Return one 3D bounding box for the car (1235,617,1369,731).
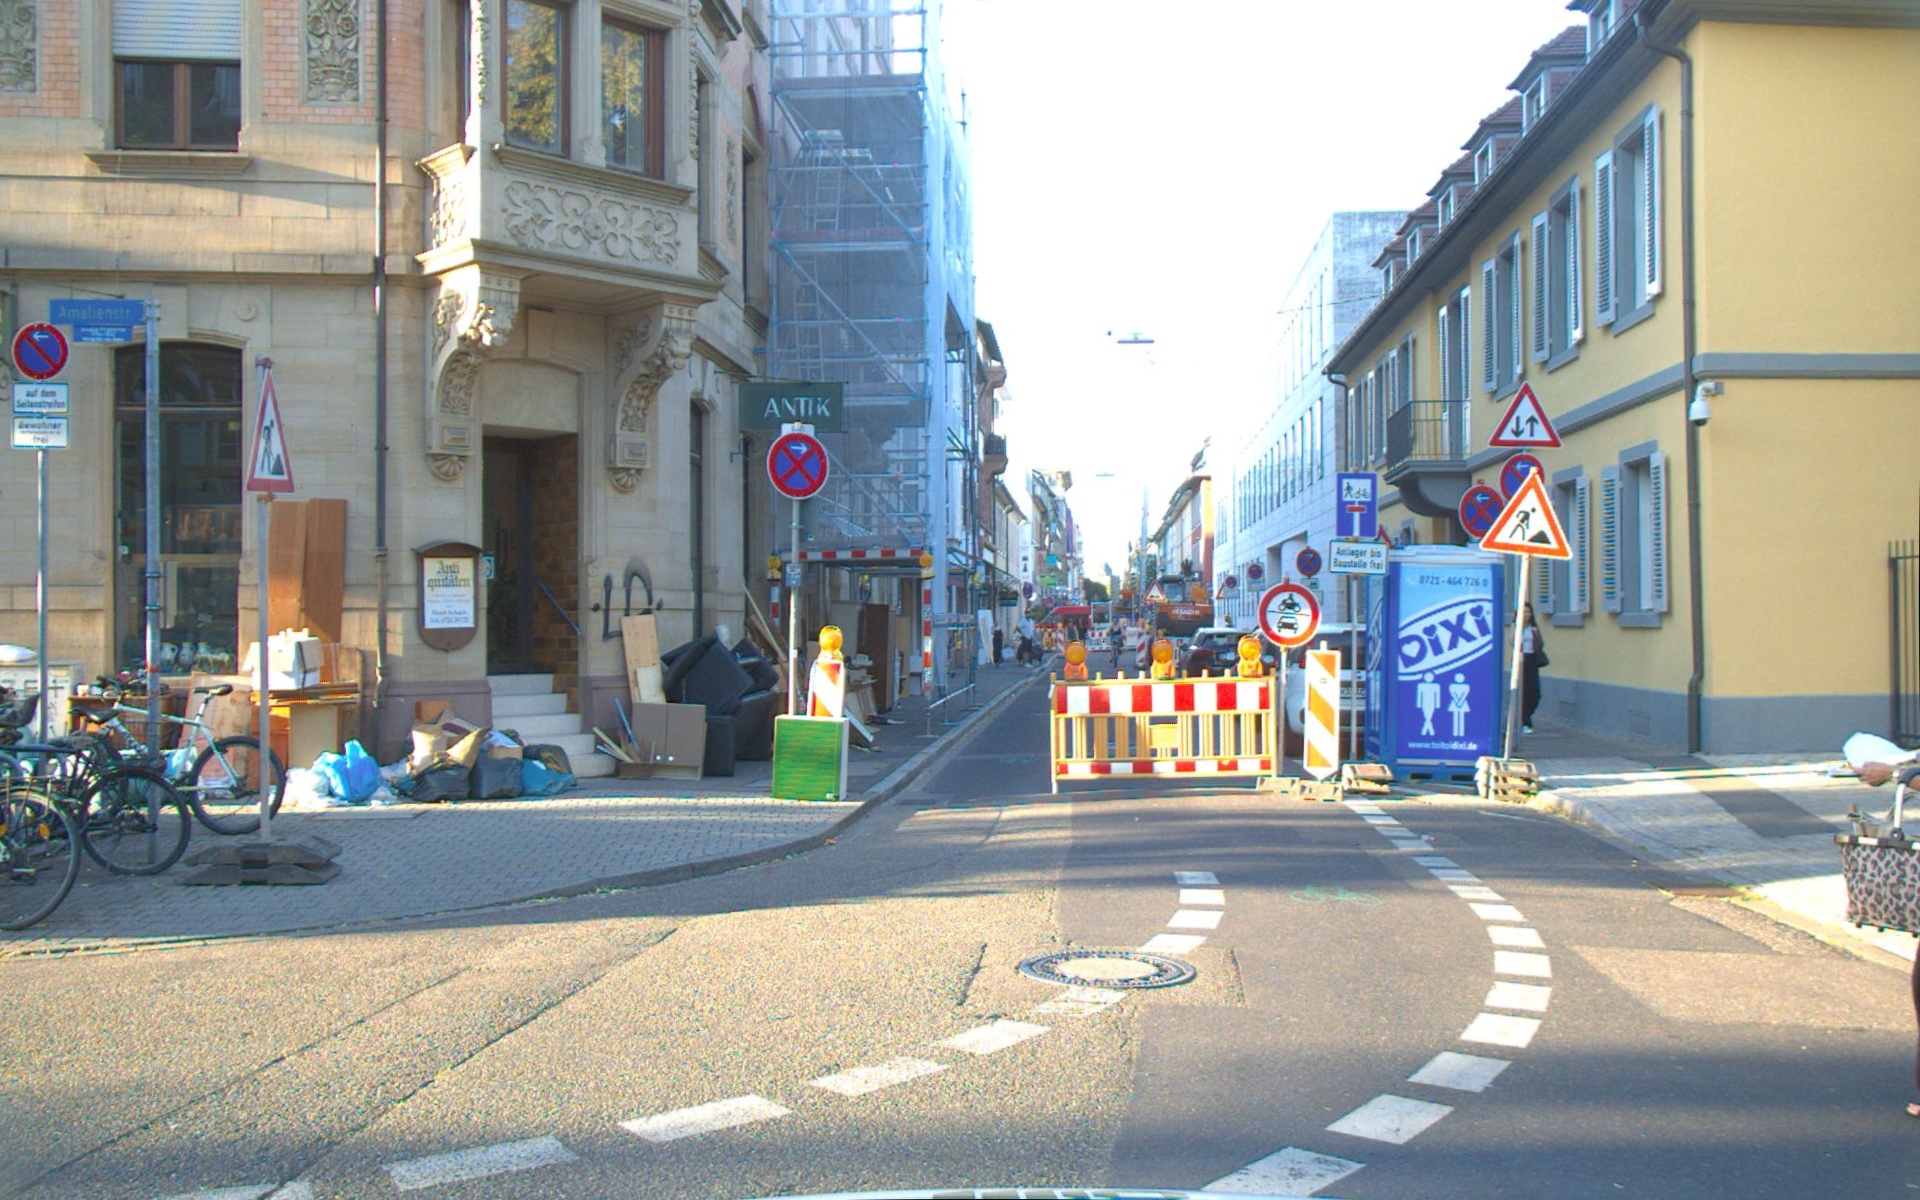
[{"bbox_3d":[5.041,1.039,24.749,1.508,1.547,3.981,-1,-1,5],"label":"car"}]

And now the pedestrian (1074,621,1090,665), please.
[{"bbox_3d":[4.226,1.493,57.386,0.494,1.487,0.513,-1,-1,11],"label":"pedestrian"}]

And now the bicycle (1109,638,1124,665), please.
[{"bbox_3d":[5.429,1.782,57.477,0.494,0.899,1.477,-1,-1,5],"label":"bicycle"}]

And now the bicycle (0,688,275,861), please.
[{"bbox_3d":[-5.571,1.105,10.618,2.063,1.031,0.639,0,-1,-7],"label":"bicycle"}]

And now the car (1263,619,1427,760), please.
[{"bbox_3d":[4.644,1.029,20.290,1.508,1.547,3.223,1,-1,5],"label":"car"}]

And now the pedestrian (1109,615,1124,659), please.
[{"bbox_3d":[5.421,1.282,57.415,0.494,1.487,0.513,0,-1,4],"label":"pedestrian"}]

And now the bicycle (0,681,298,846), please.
[{"bbox_3d":[-5.685,1.108,11.353,2.063,1.058,0.465,0,-1,-7],"label":"bicycle"}]

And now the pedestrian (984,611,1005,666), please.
[{"bbox_3d":[1.134,1.257,53.600,0.662,1.763,0.700,0,-1,2],"label":"pedestrian"}]

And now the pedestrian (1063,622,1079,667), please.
[{"bbox_3d":[3.703,1.495,55.232,0.494,1.487,0.513,-1,-1,5],"label":"pedestrian"}]

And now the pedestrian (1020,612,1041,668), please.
[{"bbox_3d":[2.316,1.307,54.302,0.500,1.795,0.506,0,-1,-36],"label":"pedestrian"}]

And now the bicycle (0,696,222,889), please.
[{"bbox_3d":[-5.312,1.097,9.561,1.791,1.031,0.639,0,-1,-7],"label":"bicycle"}]

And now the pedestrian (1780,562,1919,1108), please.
[{"bbox_3d":[3.238,0.724,5.288,0.943,1.688,0.635,-1,-1,43],"label":"pedestrian"}]

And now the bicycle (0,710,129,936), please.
[{"bbox_3d":[-5.245,1.112,8.352,1.789,1.065,0.571,0,0,-3],"label":"bicycle"}]

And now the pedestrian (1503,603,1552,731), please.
[{"bbox_3d":[7.348,0.857,21.420,0.457,1.623,0.673,-1,-1,7],"label":"pedestrian"}]

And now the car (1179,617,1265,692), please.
[{"bbox_3d":[5.764,1.173,36.667,1.681,1.547,3.223,-1,-1,5],"label":"car"}]
